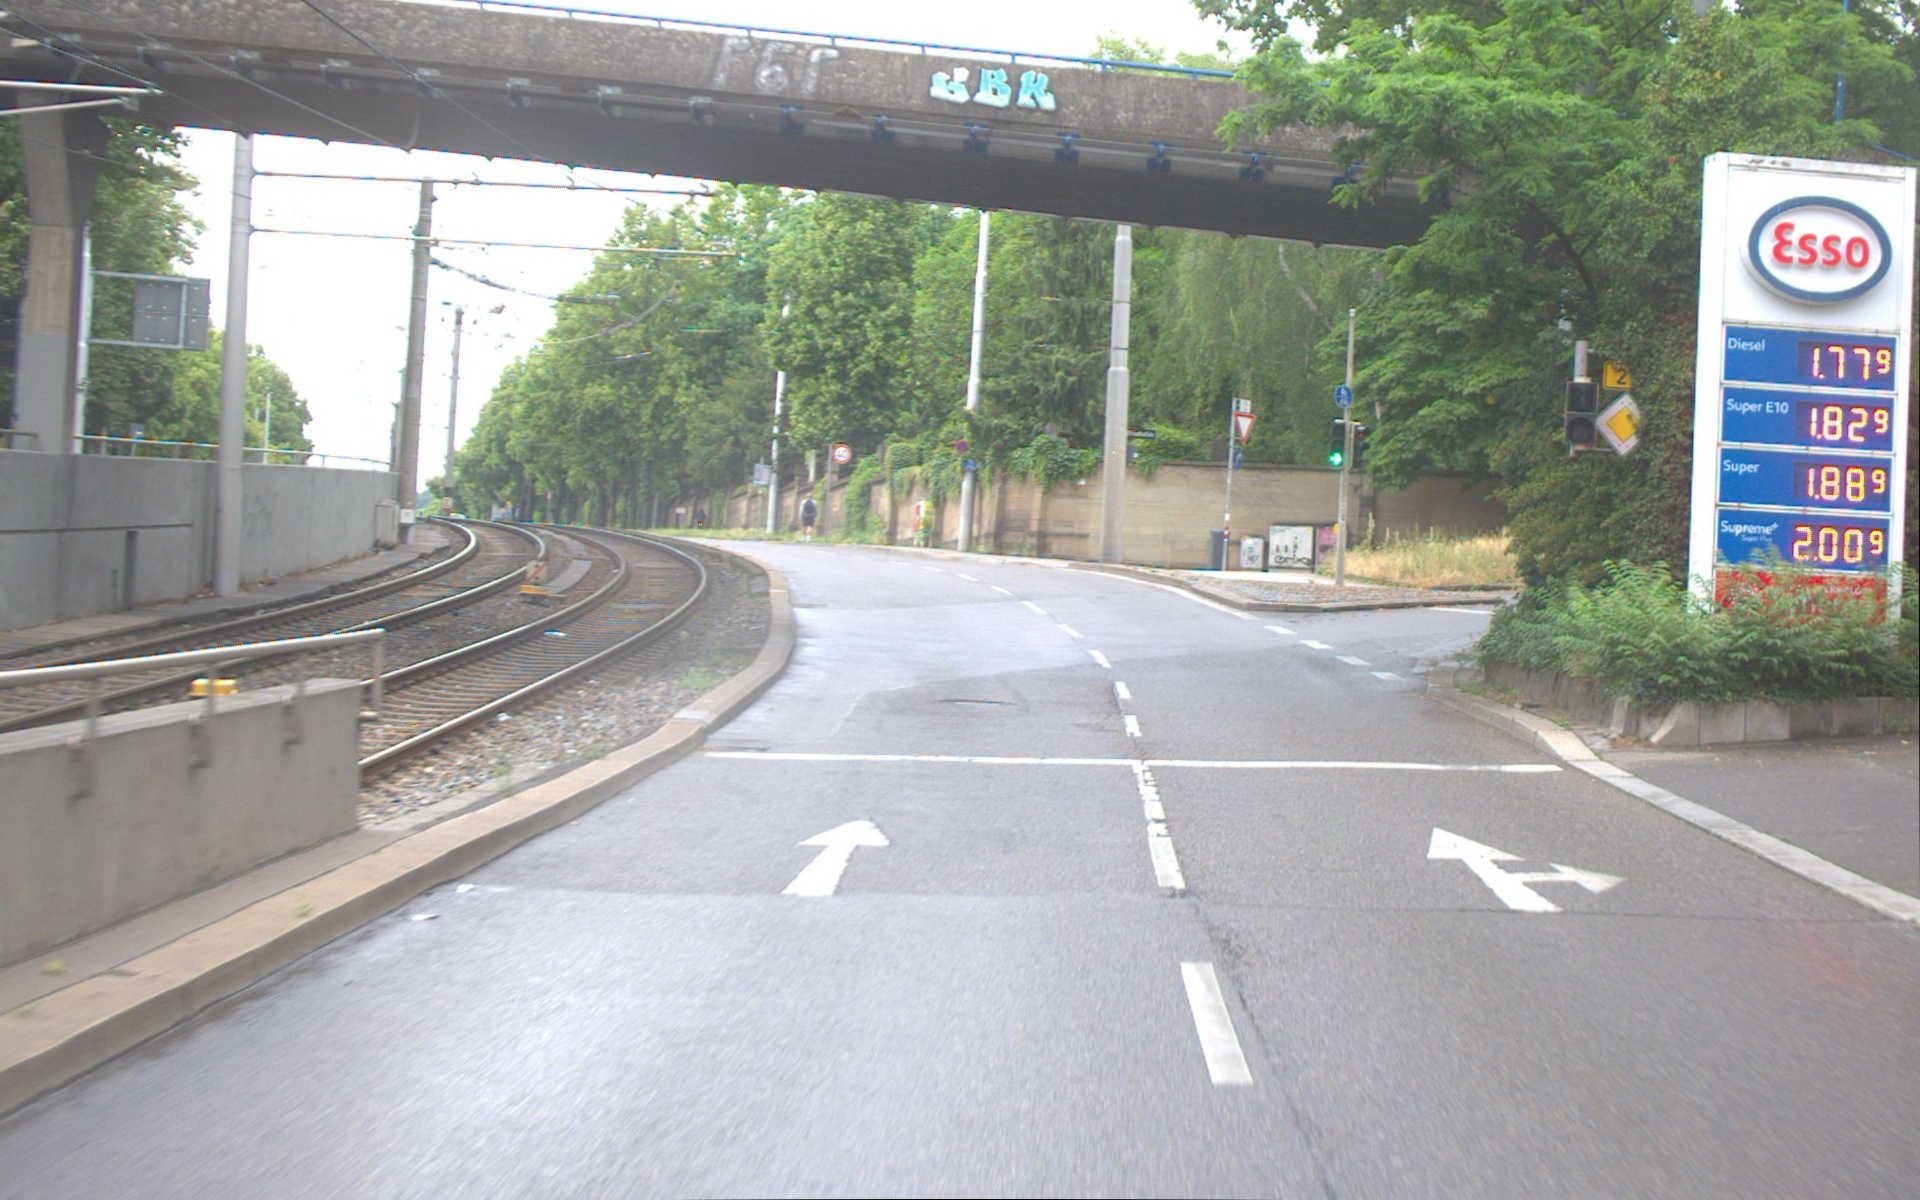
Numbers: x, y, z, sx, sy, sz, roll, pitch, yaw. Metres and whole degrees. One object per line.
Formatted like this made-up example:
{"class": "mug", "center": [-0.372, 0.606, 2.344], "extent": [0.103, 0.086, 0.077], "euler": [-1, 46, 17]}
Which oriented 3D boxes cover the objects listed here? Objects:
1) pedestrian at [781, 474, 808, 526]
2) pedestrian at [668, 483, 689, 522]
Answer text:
{"class": "pedestrian", "center": [-5.953, -3.600, 123.829], "extent": [0.719, 1.843, 0.783], "euler": [4, 0, -10]}
{"class": "pedestrian", "center": [-12.479, -4.315, 152.467], "extent": [0.719, 1.681, 0.729], "euler": [4, 0, -10]}
